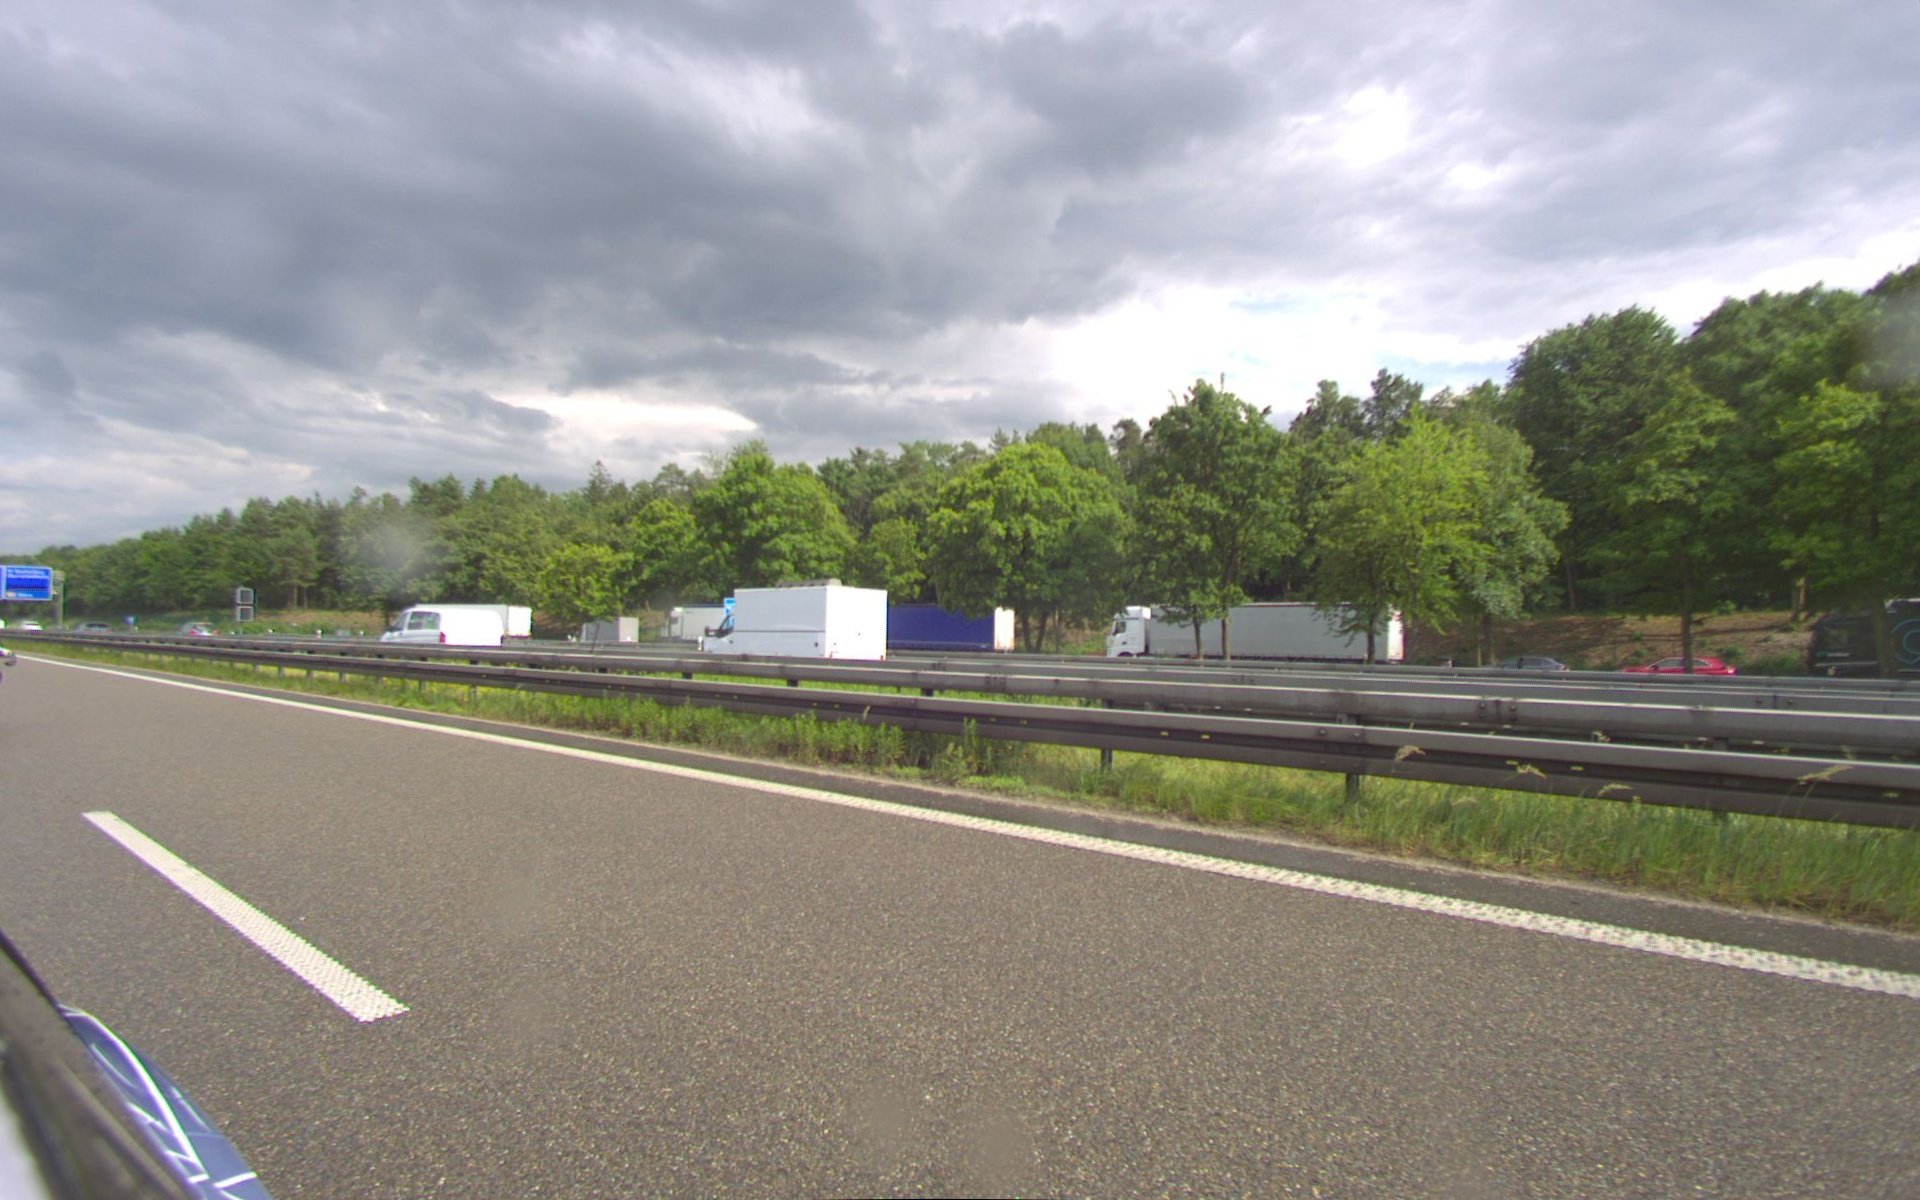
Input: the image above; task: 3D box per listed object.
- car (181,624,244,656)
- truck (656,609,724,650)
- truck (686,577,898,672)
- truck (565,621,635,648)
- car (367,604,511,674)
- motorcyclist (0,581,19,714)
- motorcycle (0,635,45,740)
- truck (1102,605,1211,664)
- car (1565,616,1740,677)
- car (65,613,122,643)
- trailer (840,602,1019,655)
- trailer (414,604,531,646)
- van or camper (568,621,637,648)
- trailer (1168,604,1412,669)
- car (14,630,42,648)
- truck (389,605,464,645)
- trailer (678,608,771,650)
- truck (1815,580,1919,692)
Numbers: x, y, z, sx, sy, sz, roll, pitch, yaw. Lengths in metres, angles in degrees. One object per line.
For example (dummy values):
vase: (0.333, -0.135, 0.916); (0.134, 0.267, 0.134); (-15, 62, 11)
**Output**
car: (-48.021, 2.522, 64.986); (4.777, 1.905, 2.276); (-1, 0, 41)
truck: (-22.216, 2.378, 83.127); (5.068, 3.292, 2.635); (-1, 0, 31)
truck: (-5.507, 0.730, 32.272); (7.190, 2.702, 2.812); (-1, 0, 42)
truck: (-31.636, 2.991, 88.921); (6.290, 2.282, 2.105); (-1, -1, 28)
car: (-15.671, 1.102, 30.307); (5.257, 1.905, 2.025); (-1, 0, 41)
motorcyclist: (-12.968, 0.622, 13.211); (1.000, 1.719, 0.872); (-1, 0, 39)
motorcycle: (-13.071, 1.110, 13.198); (3.190, 1.235, 1.173); (-1, 0, 38)
truck: (11.777, 2.004, 60.789); (5.499, 3.298, 3.321); (-1, 0, 38)
car: (31.055, 2.011, 45.524); (6.209, 2.501, 2.763); (-1, 0, 42)
car: (-58.382, 1.852, 68.136); (4.777, 1.905, 2.276); (-1, 0, 41)
trailer: (-2.340, 1.944, 70.379); (13.392, 3.431, 2.799); (-1, -2, 34)
trailer: (-46.517, 2.372, 96.352); (12.508, 3.767, 3.184); (-1, -2, 28)
van or camper: (-31.447, 2.990, 88.954); (6.294, 2.282, 2.105); (-1, -1, 28)
trailer: (17.864, 1.941, 55.830); (12.461, 3.241, 3.314); (-1, -2, 39)
car: (-104.412, 4.358, 113.362); (4.777, 1.905, 1.811); (-1, 0, 41)
truck: (-52.346, 2.419, 99.354); (6.882, 3.732, 3.188); (-1, 0, 27)
trailer: (-18.940, 2.329, 81.206); (7.714, 3.257, 2.560); (-1, -2, 32)
truck: (38.744, 1.350, 39.242); (8.415, 4.266, 3.747); (-1, 0, 42)
